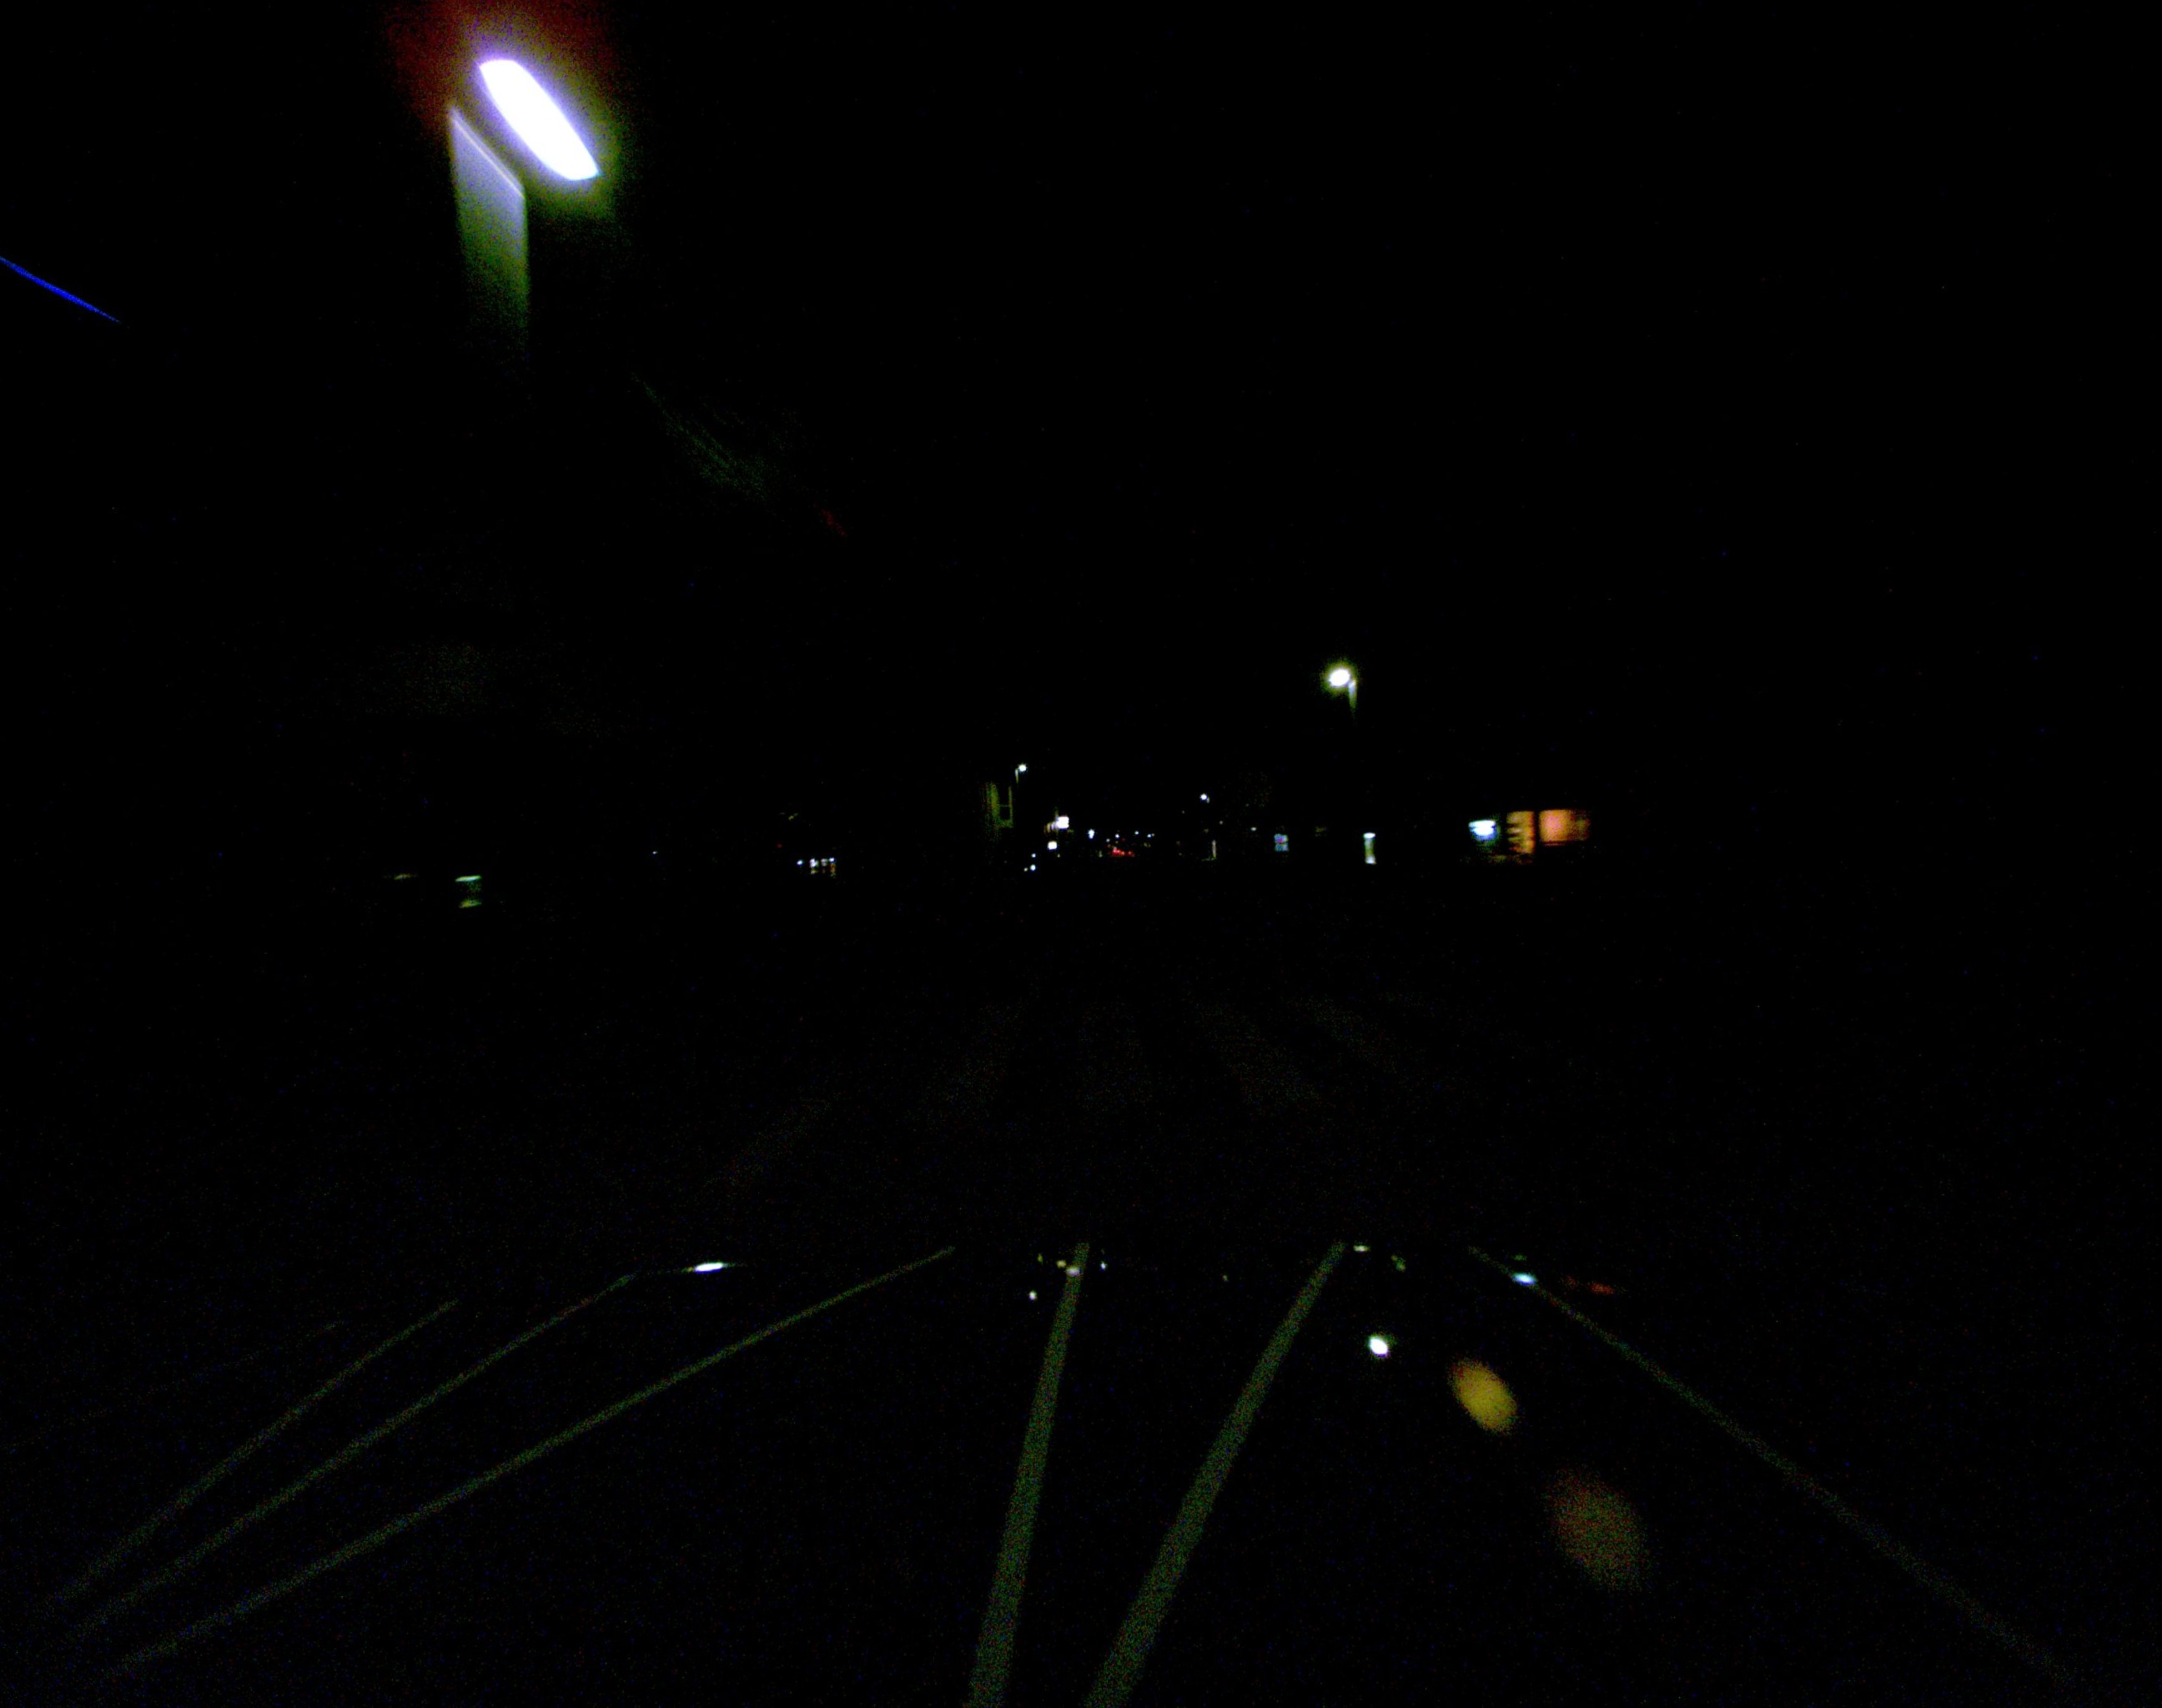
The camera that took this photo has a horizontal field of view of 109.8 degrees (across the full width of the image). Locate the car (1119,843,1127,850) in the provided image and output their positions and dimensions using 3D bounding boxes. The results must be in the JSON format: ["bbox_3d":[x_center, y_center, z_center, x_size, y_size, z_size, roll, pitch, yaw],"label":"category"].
[{"bbox_3d":[9.902,-1.714,179.308,1.752,1.635,4.307,-1,1,0],"label":"car"}]

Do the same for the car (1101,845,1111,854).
[{"bbox_3d":[4.475,-0.847,134.984,1.606,1.474,3.699,-1,1,1],"label":"car"}]

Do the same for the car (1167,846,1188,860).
[{"bbox_3d":[10.888,-0.167,86.131,1.900,1.411,4.931,-3,0,3],"label":"car"}]

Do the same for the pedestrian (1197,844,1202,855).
[{"bbox_3d":[16.447,-0.595,105.196,0.529,1.579,0.665,-2,1,-6],"label":"pedestrian"}]

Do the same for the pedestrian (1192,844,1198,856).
[{"bbox_3d":[15.821,-0.575,105.437,0.529,1.579,0.665,-2,1,-4],"label":"pedestrian"}]

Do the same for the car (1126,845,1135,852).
[{"bbox_3d":[10.433,-1.235,160.680,1.720,1.420,3.816,-2,1,4],"label":"car"}]

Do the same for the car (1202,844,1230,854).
[{"bbox_3d":[19.595,-0.678,110.313,3.832,1.408,1.653,-1,1,4],"label":"car"}]

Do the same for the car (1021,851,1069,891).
[{"bbox_3d":[-1.520,0.691,33.445,1.747,1.560,4.208,-1,1,2],"label":"car"}]

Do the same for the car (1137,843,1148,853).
[{"bbox_3d":[11.414,-1.129,140.277,1.814,1.637,3.804,-3,1,2],"label":"car"}]

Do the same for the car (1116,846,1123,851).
[{"bbox_3d":[9.983,-1.530,197.192,1.821,1.271,3.917,-2,1,2],"label":"car"}]
